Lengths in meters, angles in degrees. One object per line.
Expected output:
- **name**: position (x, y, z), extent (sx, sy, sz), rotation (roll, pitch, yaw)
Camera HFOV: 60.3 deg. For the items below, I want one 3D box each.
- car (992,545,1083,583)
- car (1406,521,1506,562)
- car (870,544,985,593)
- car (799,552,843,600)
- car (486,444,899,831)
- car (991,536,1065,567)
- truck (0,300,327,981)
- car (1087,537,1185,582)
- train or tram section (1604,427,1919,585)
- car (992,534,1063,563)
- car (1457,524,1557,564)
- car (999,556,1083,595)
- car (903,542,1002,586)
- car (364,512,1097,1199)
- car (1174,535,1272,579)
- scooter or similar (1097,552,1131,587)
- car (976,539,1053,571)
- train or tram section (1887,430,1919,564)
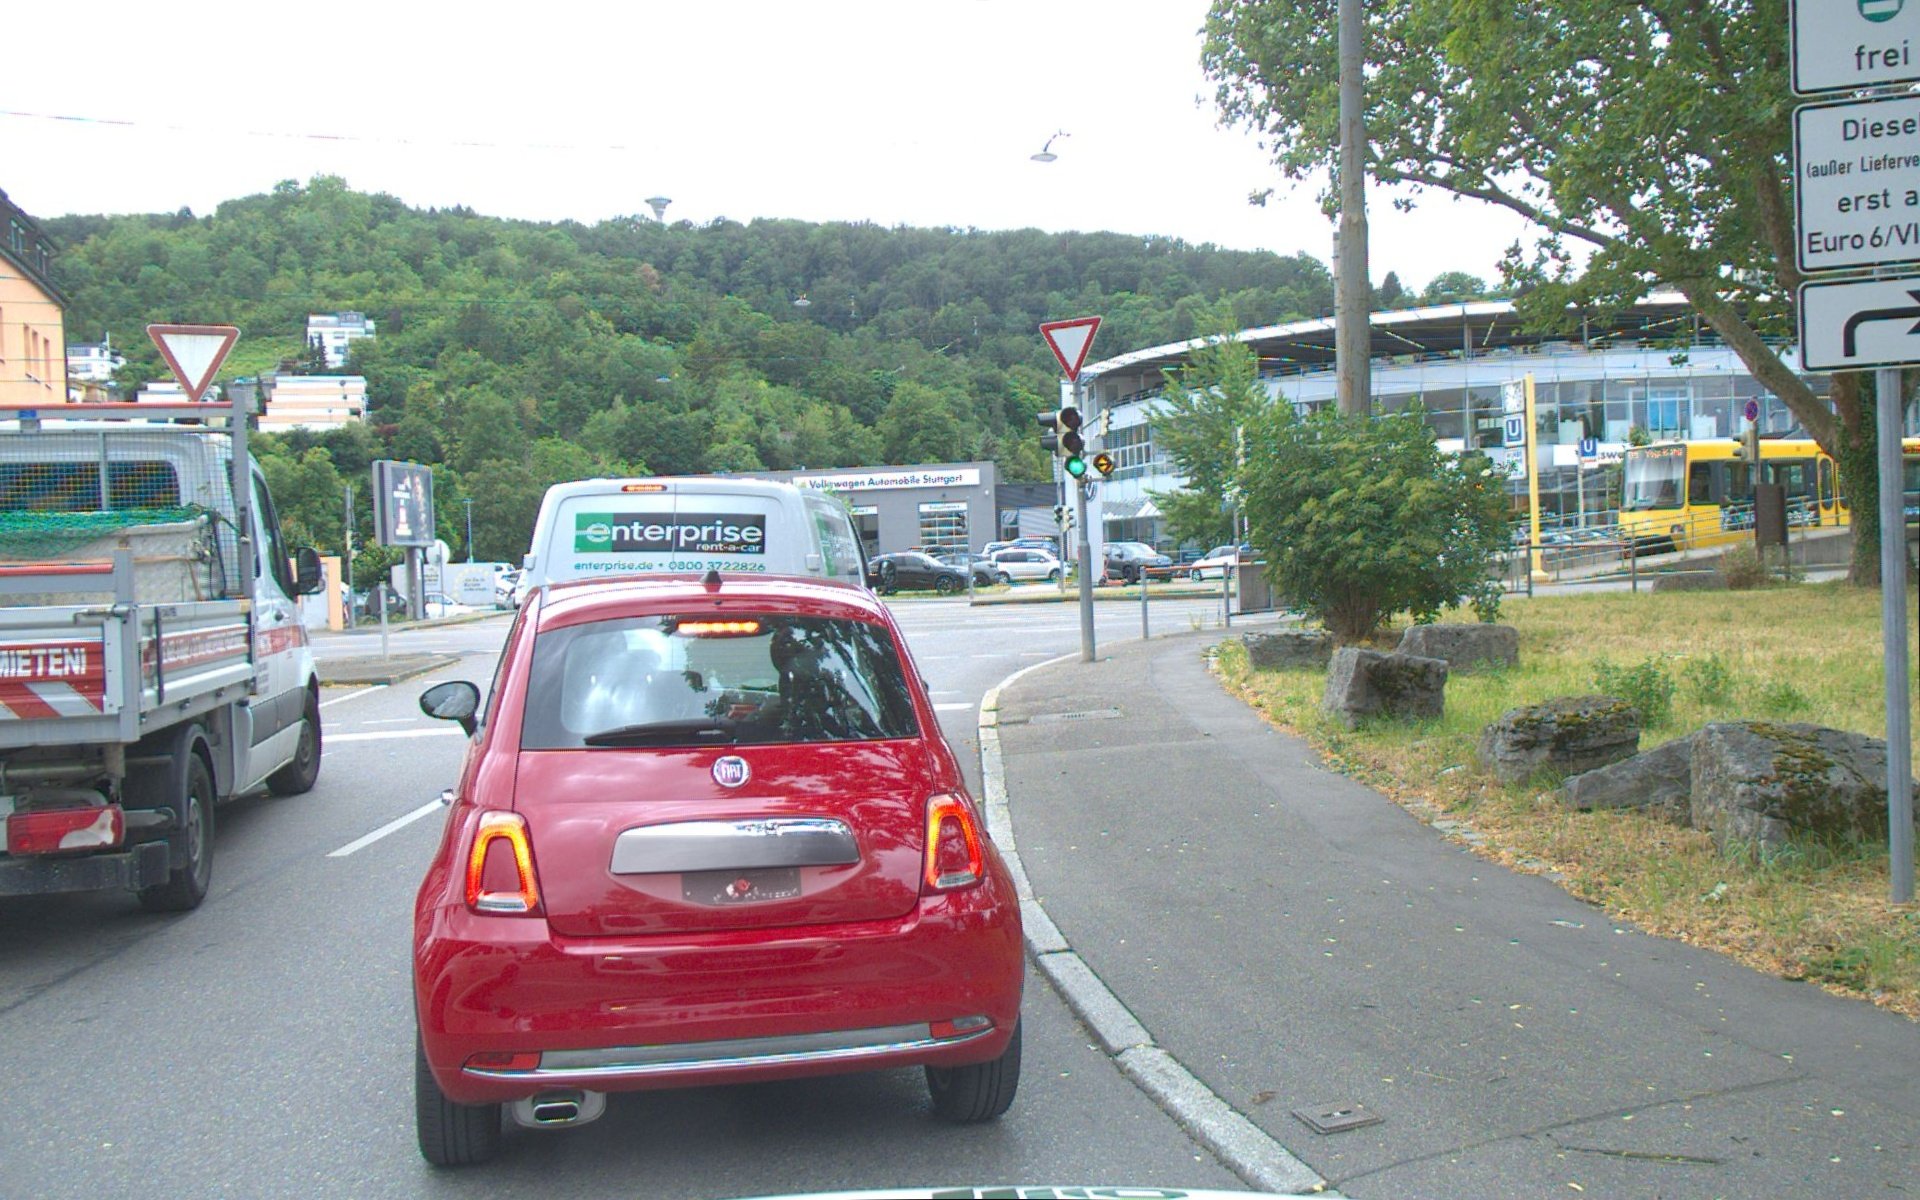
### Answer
- **car**: position (3.787, -1.747, 81.461), extent (4.403, 1.759, 2.000), rotation (1, 0, 1)
- **car**: position (21.428, -2.524, 71.622), extent (1.899, 1.581, 3.964), rotation (-4, 2, -28)
- **car**: position (-1.174, -1.175, 61.423), extent (3.902, 1.668, 2.003), rotation (1, 4, 13)
- **car**: position (-6.608, -1.102, 79.060), extent (1.954, 2.049, 5.013), rotation (-3, -1, -4)
- **car**: position (-1.552, 0.103, 11.410), extent (1.957, 2.075, 4.833), rotation (1, 2, 1)
- **car**: position (4.113, -2.946, 100.753), extent (4.405, 1.759, 1.999), rotation (1, 0, -2)
- **truck**: position (-4.828, 0.088, 8.515), extent (2.276, 2.463, 5.632), rotation (-2, 2, -15)
- **car**: position (6.911, -1.585, 65.219), extent (1.971, 1.668, 3.964), rotation (-2, 1, -28)
- **train or tram section**: position (24.016, -2.778, 47.603), extent (11.720, 4.035, 2.729), rotation (-4, 1, -24)
- **car**: position (4.326, -3.294, 105.931), extent (4.405, 1.759, 1.999), rotation (1, 0, -2)
- **car**: position (23.970, -2.433, 72.580), extent (1.899, 1.581, 3.964), rotation (-4, 2, -28)
- **car**: position (4.406, -1.308, 90.142), extent (4.404, 2.032, 1.999), rotation (1, 0, -1)
- **car**: position (-0.354, -1.520, 70.196), extent (3.914, 1.736, 1.995), rotation (1, 0, -10)
- **car**: position (-0.885, 0.549, 5.810), extent (1.667, 1.551, 3.989), rotation (1, 1, -11)
- **car**: position (10.733, -1.732, 67.709), extent (1.970, 1.668, 3.964), rotation (1, 0, -28)
- **scooter or similar**: position (5.813, -1.141, 62.297), extent (1.177, 1.310, 0.575), rotation (1, -1, -6)
- **car**: position (3.153, -2.607, 96.395), extent (4.405, 1.759, 1.999), rotation (1, 0, -2)
- **train or tram section**: position (34.689, -3.493, 52.454), extent (11.720, 4.035, 2.729), rotation (-4, 1, -24)
